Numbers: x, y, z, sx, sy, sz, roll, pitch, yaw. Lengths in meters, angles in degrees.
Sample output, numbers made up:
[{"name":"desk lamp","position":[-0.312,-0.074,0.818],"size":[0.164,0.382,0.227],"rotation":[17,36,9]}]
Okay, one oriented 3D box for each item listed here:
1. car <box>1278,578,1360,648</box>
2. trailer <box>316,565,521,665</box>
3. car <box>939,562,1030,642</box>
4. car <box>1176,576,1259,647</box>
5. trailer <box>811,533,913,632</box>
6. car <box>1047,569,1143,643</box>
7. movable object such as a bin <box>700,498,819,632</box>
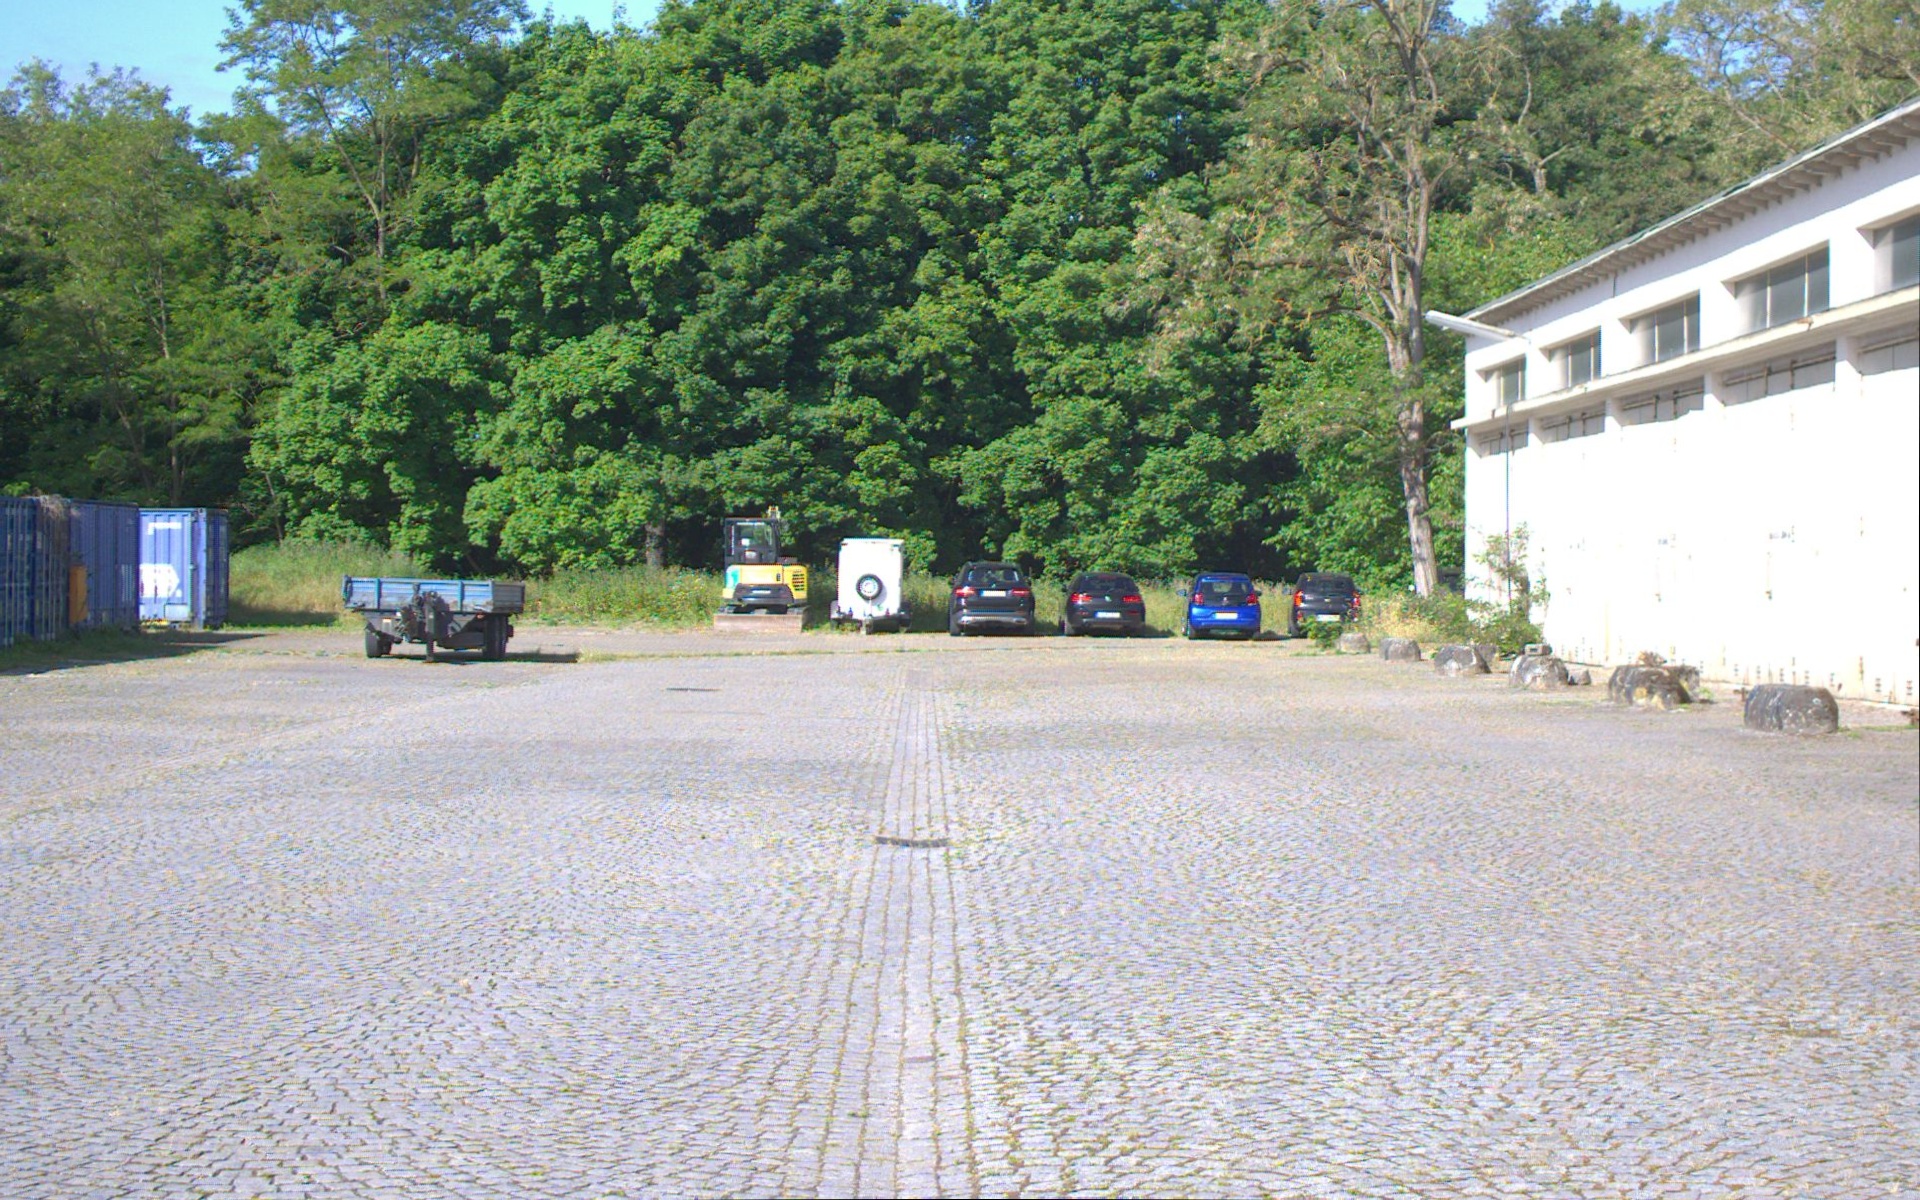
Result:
[{"name":"car","position":[8.198,0.272,78.428],"size":[1.744,1.432,4.182],"rotation":[2,1,6]},{"name":"trailer","position":[-9.178,0.214,58.903],"size":[2.705,1.461,6.248],"rotation":[2,1,-2]},{"name":"car","position":[0.513,0.022,76.667],"size":[1.863,1.584,4.296],"rotation":[2,1,-1]},{"name":"car","position":[5.764,0.233,77.005],"size":[1.744,1.432,4.182],"rotation":[2,1,4]},{"name":"trailer","position":[-2.215,-0.440,79.028],"size":[2.193,2.087,5.751],"rotation":[2,1,-1]},{"name":"car","position":[2.998,0.120,77.049],"size":[1.863,1.465,4.296],"rotation":[2,1,-1]},{"name":"movable object such as a bin","position":[-4.597,-0.855,79.607],"size":[2.306,2.887,5.751],"rotation":[2,1,0]}]
